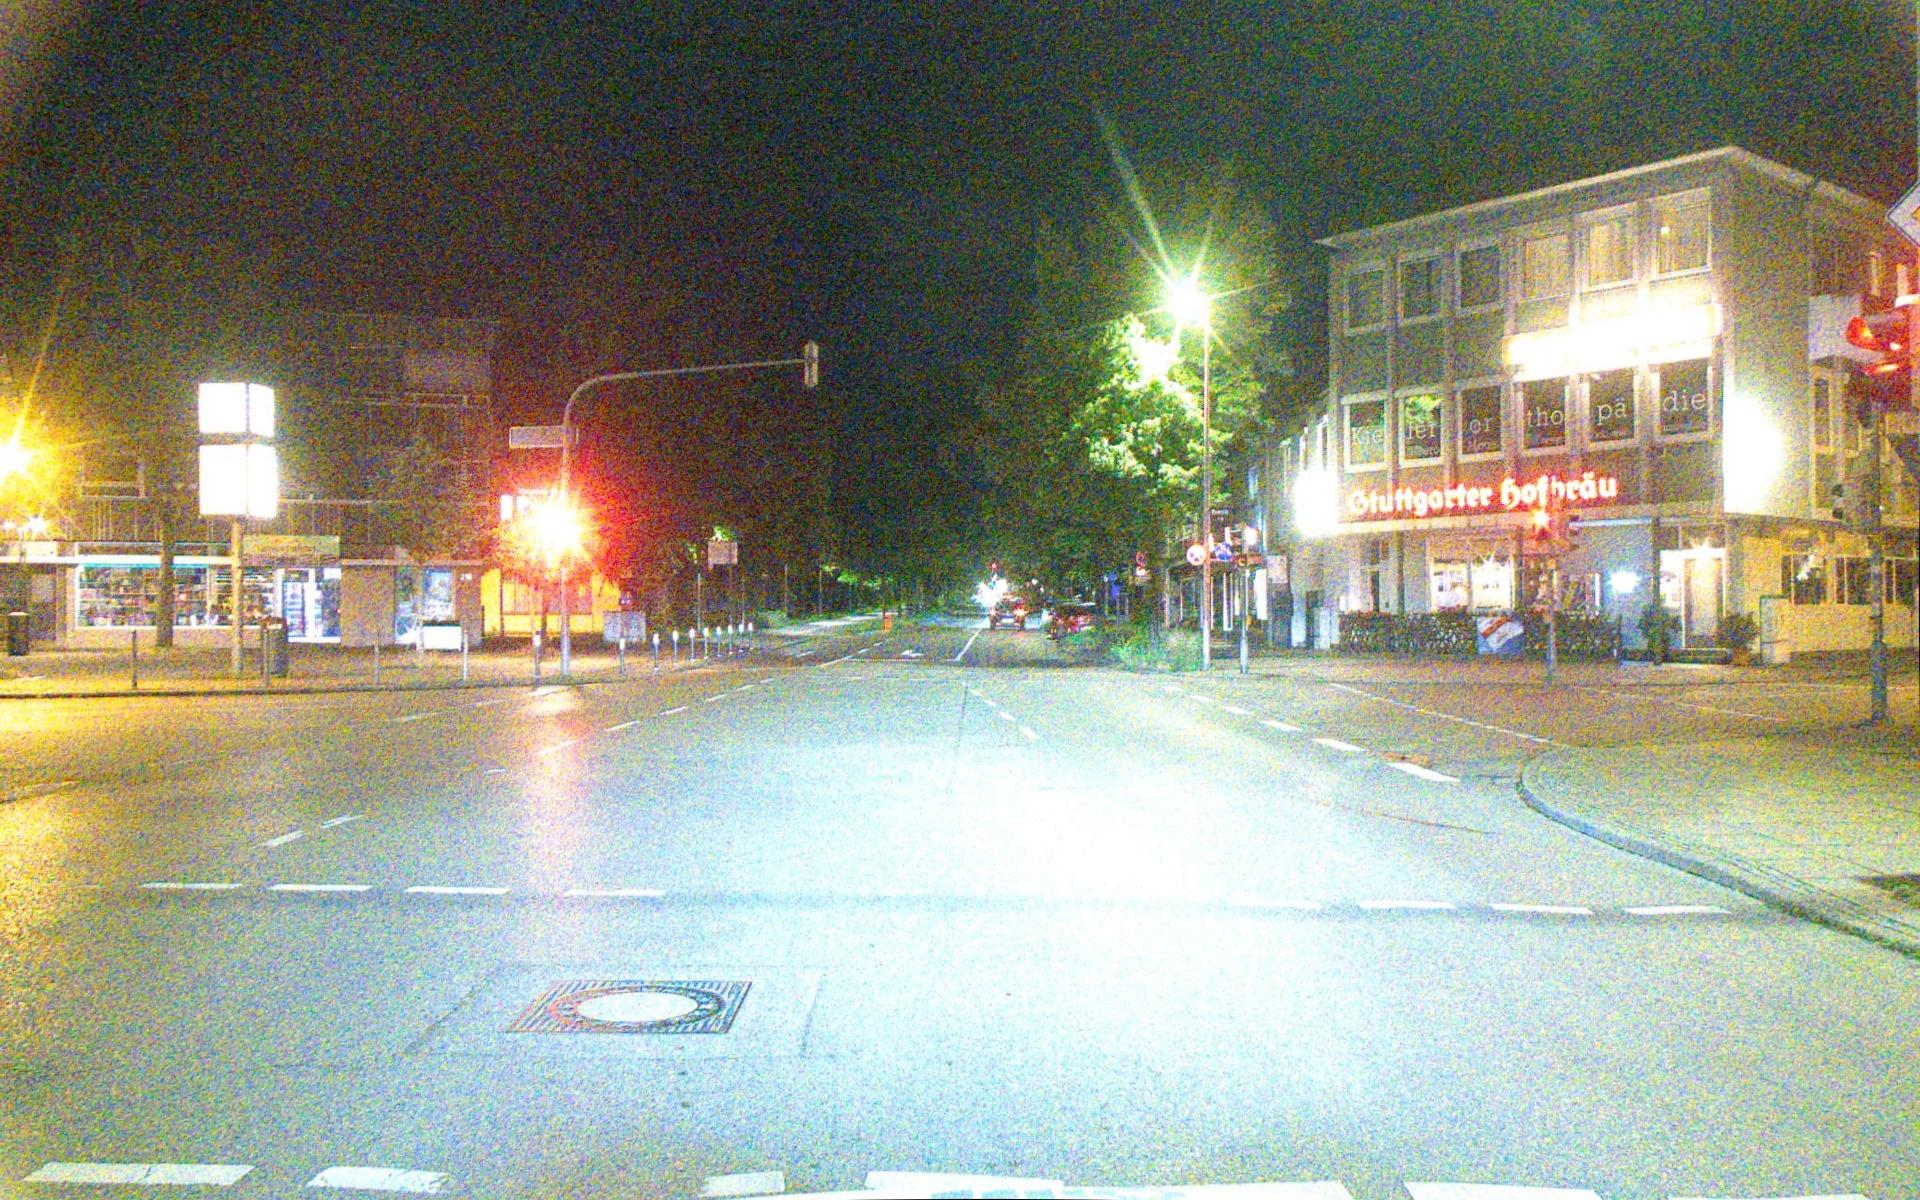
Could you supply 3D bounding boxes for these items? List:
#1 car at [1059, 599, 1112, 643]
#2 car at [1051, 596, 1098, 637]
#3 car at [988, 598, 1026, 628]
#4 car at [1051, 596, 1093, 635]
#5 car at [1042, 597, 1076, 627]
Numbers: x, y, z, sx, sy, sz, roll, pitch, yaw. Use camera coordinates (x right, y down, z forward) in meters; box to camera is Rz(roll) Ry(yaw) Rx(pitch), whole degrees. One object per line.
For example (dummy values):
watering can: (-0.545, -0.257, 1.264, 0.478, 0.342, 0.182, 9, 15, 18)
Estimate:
car: (4.796, 0.789, 63.603, 1.837, 1.643, 4.001, 0, 0, 2)
car: (4.730, 0.687, 68.861, 1.837, 1.643, 4.001, 0, 0, 2)
car: (2.415, 0.656, 83.793, 1.835, 1.479, 4.317, 1, 0, 2)
car: (5.155, 0.717, 76.537, 1.837, 1.759, 4.001, 0, 0, 2)
car: (5.666, 0.678, 94.575, 1.837, 1.713, 4.001, 0, 0, 2)
